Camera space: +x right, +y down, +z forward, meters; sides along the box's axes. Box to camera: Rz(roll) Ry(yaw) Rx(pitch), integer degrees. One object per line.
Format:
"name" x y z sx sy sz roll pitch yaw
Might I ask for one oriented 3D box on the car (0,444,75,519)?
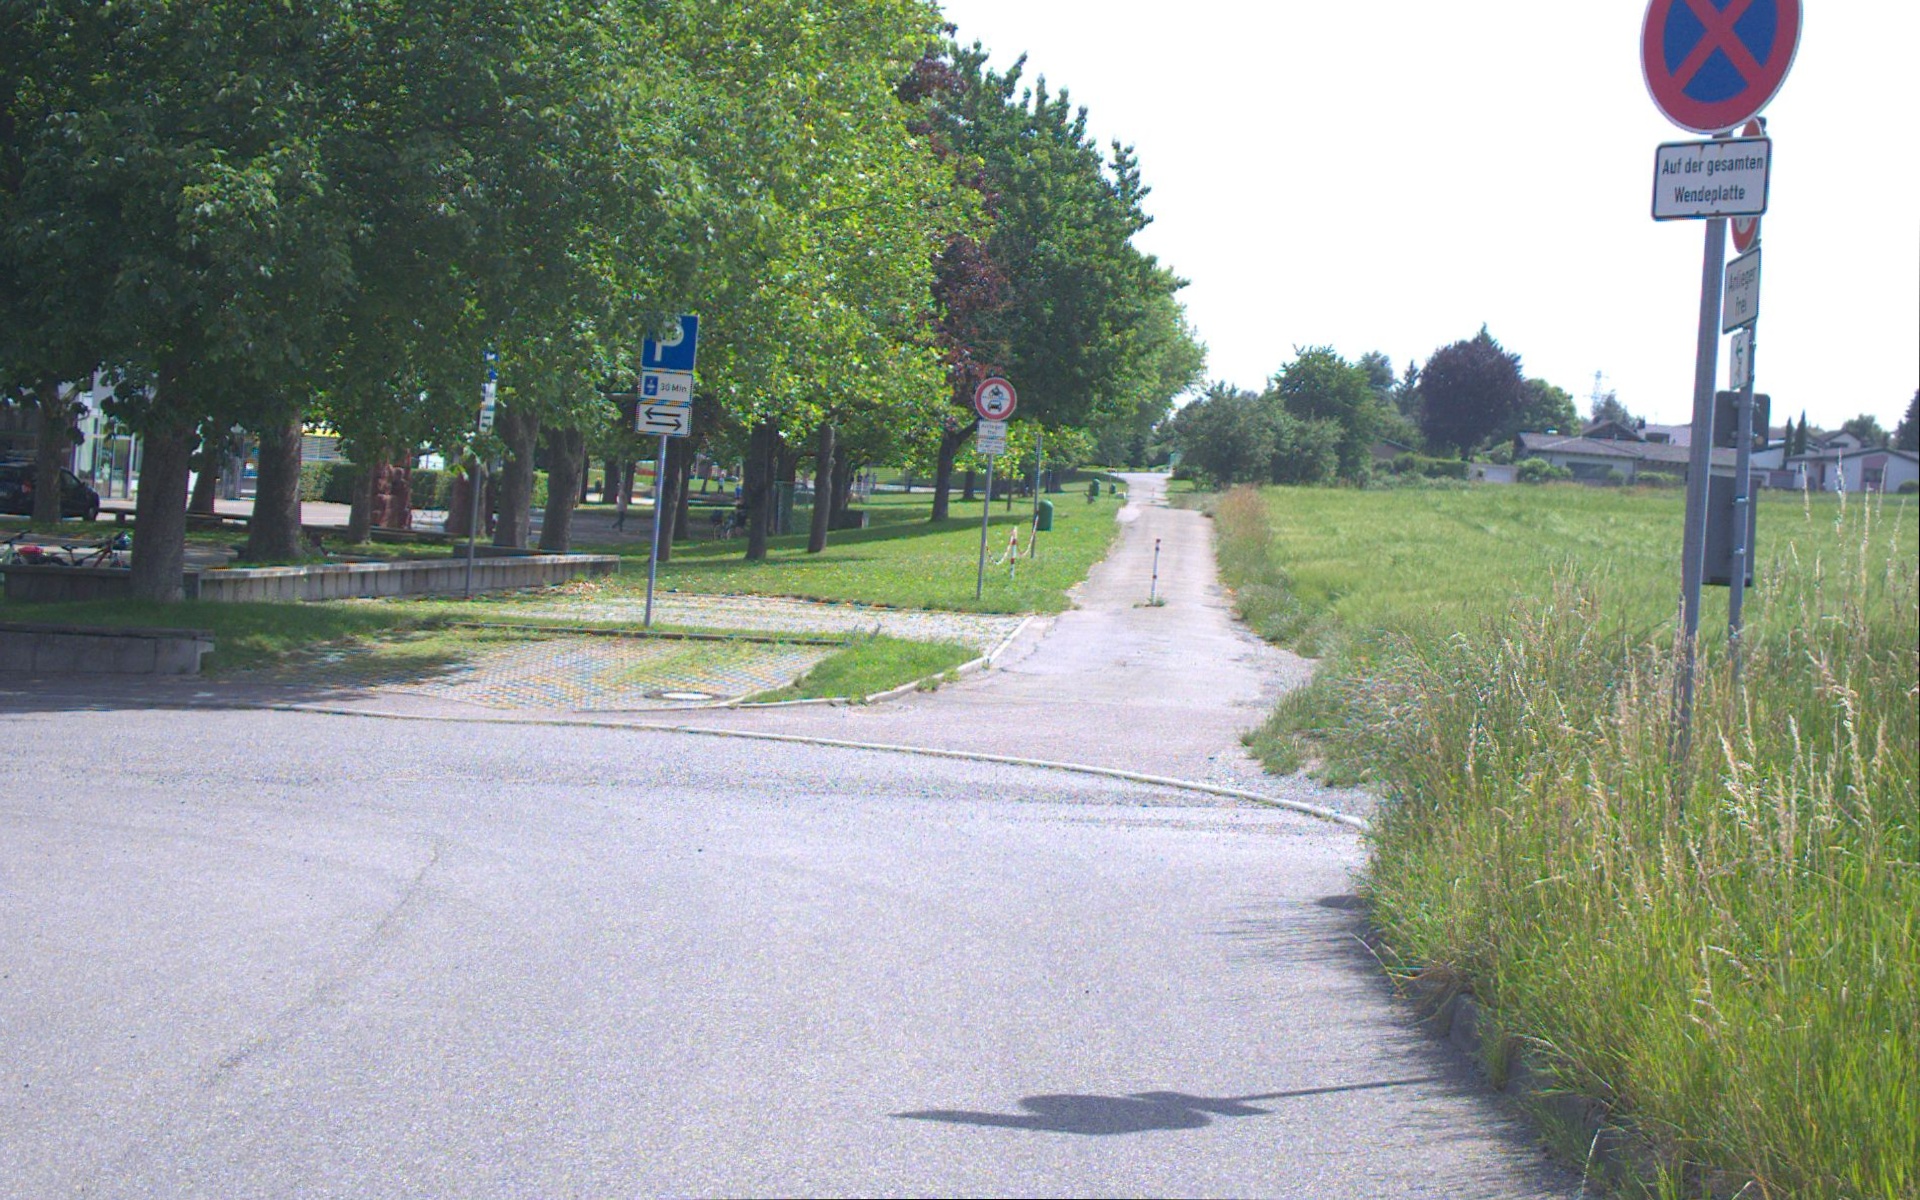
"car" -23.813 -3.019 87.277 1.691 1.828 3.411 3 1 0

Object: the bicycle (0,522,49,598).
"bicycle" -13.483 -0.571 48.227 0.595 1.035 1.892 2 2 10

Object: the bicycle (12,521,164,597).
"bicycle" -12.753 -0.606 50.286 2.062 1.035 0.572 2 2 -5

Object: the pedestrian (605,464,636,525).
"pedestrian" -11.424 -3.546 115.608 0.832 2.007 0.692 3 1 -13

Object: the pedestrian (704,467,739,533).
"pedestrian" -7.456 -3.125 107.523 0.682 2.007 0.803 3 1 -30
